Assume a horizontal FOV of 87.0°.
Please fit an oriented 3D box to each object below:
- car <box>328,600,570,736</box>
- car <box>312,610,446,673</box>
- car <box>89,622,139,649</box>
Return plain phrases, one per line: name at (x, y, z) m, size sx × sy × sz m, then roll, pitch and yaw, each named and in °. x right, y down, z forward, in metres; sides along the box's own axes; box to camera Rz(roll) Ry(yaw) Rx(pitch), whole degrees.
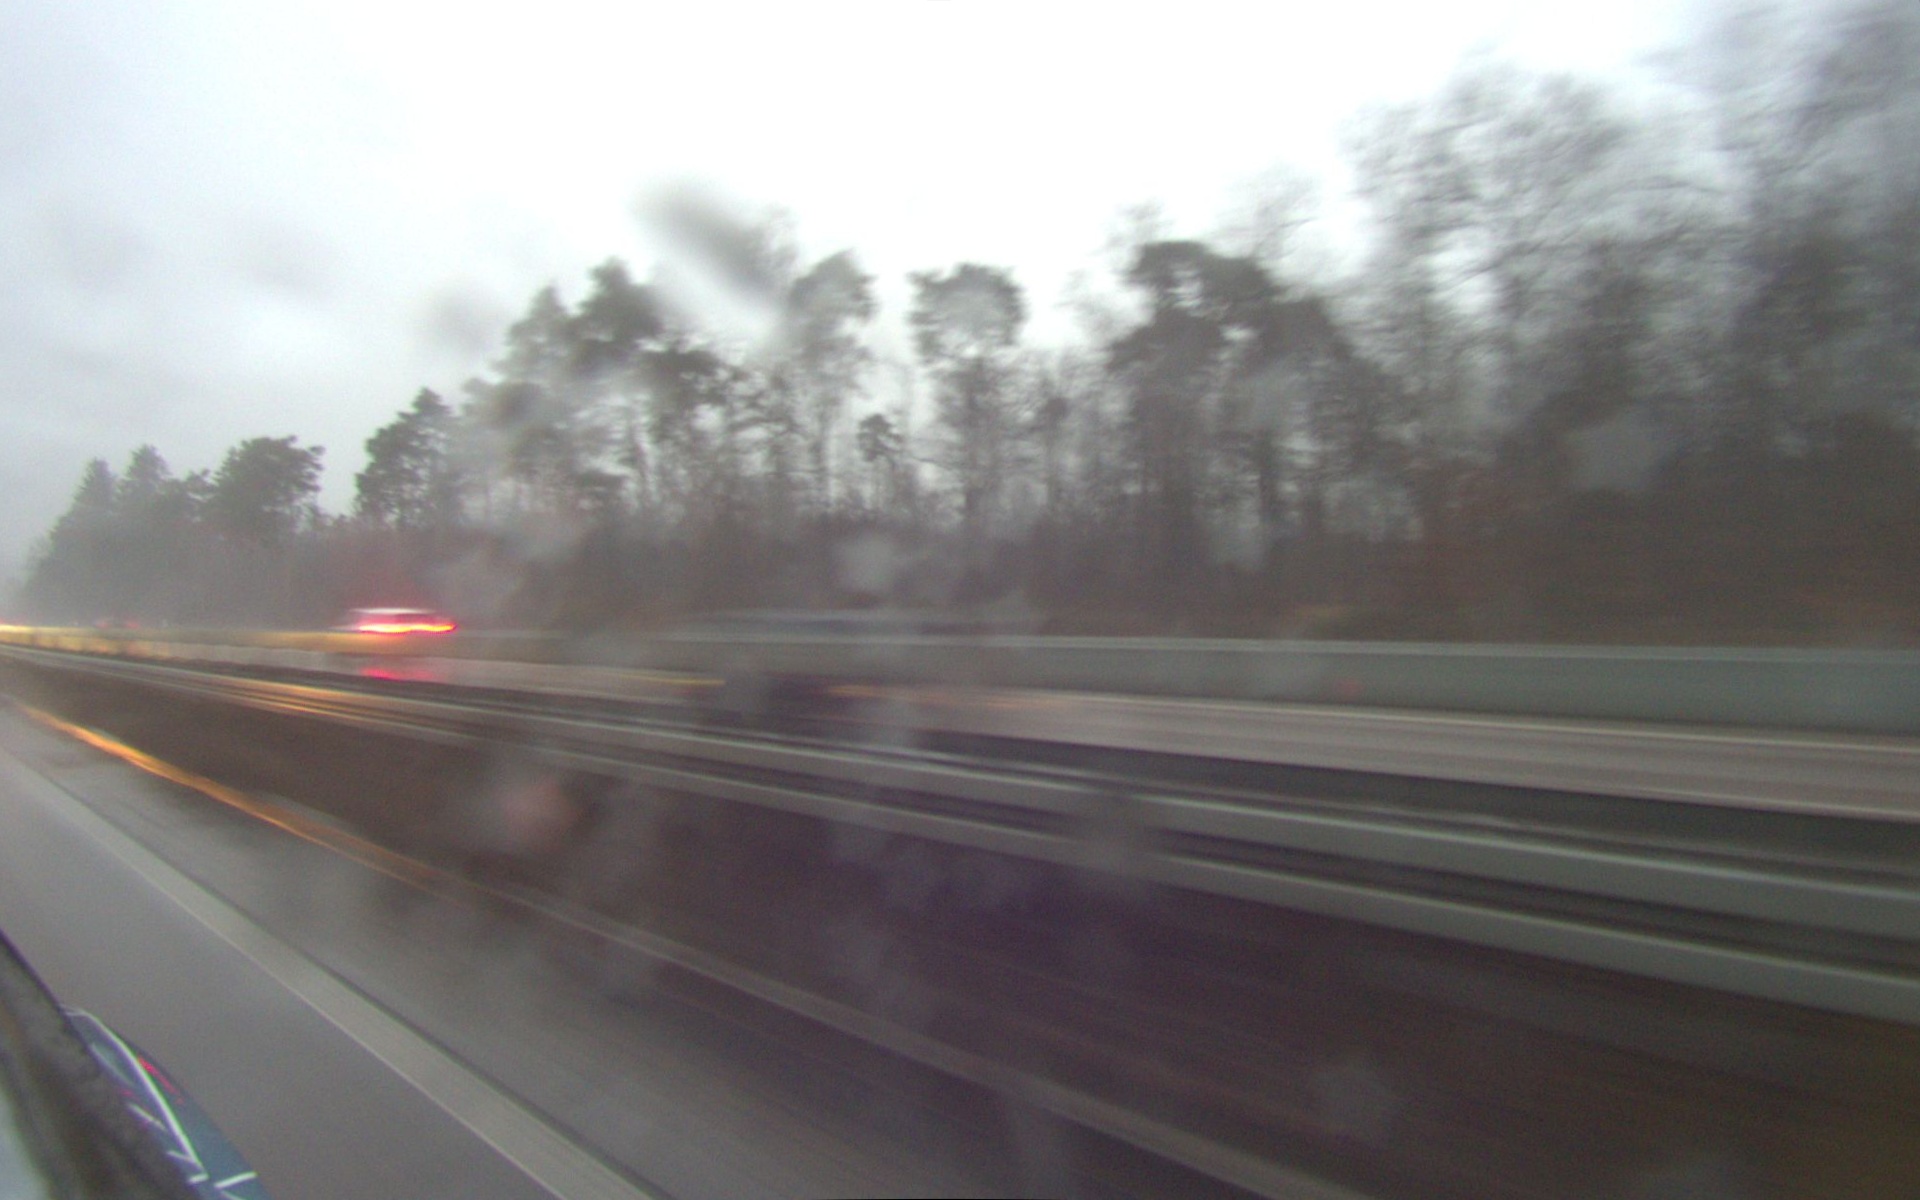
car at (-7.855, 0.944, 15.412) m, size 3.998 × 1.718 × 1.884 m, roll -2°, pitch 1°, yaw 41°
car at (-17.402, 1.207, 30.171) m, size 5.447 × 1.708 × 1.857 m, roll -2°, pitch -1°, yaw 42°
car at (-48.296, 2.014, 57.750) m, size 3.646 × 1.491 × 1.626 m, roll -2°, pitch -1°, yaw 41°
